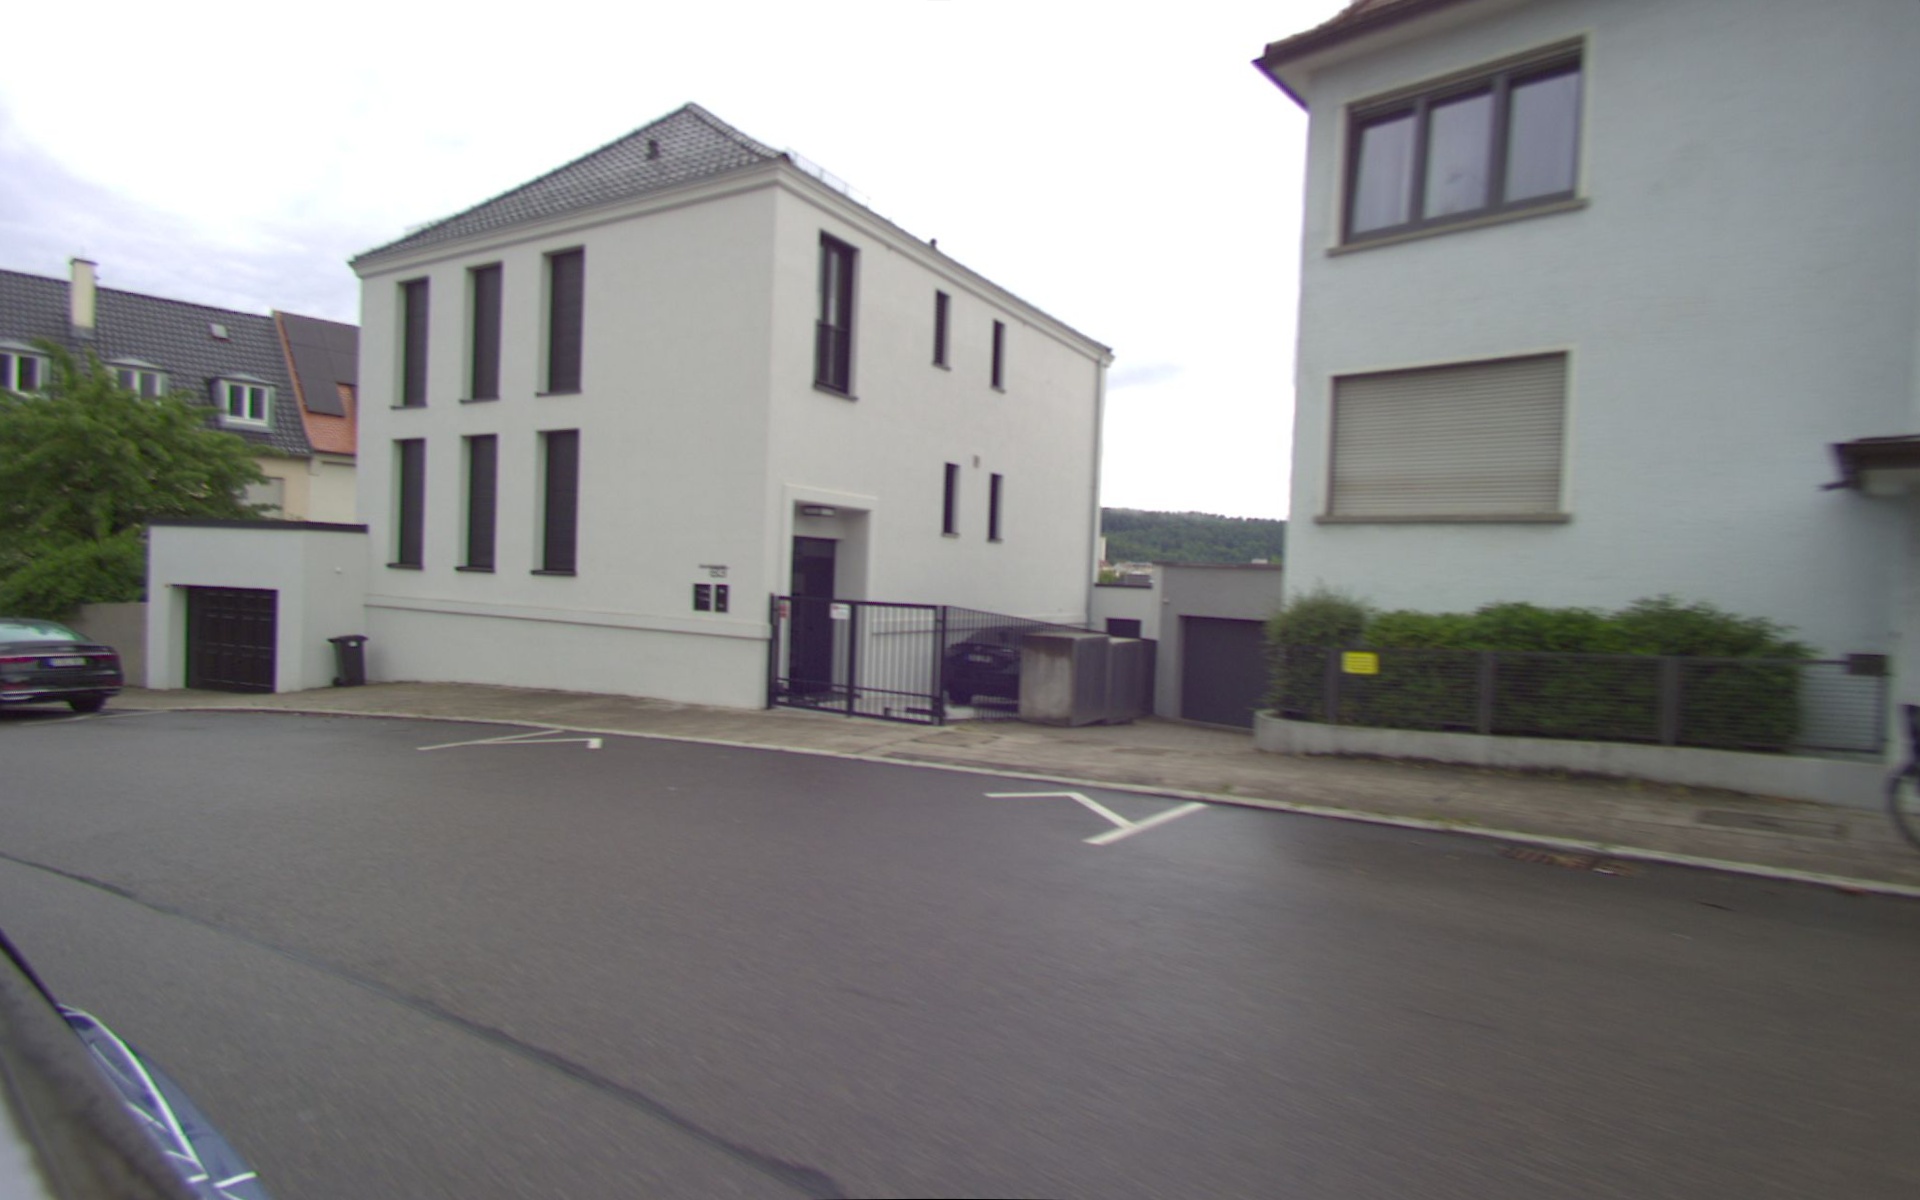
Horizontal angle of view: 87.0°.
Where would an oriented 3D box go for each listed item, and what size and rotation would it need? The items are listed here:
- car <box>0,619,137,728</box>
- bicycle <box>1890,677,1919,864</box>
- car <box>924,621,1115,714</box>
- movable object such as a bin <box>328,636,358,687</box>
[{"bbox_3d":[-15.341,1.056,15.711,4.956,1.497,1.822,-1,-1,22],"label":"car"},{"bbox_3d":[6.480,1.004,5.594,1.919,1.075,0.451,-1,-1,39],"label":"bicycle"},{"bbox_3d":[1.176,1.254,17.877,1.735,1.363,3.960,2,-5,30],"label":"car"},{"bbox_3d":[-11.400,1.133,18.703,0.282,0.920,0.367,-1,-2,31],"label":"movable object such as a bin"}]
